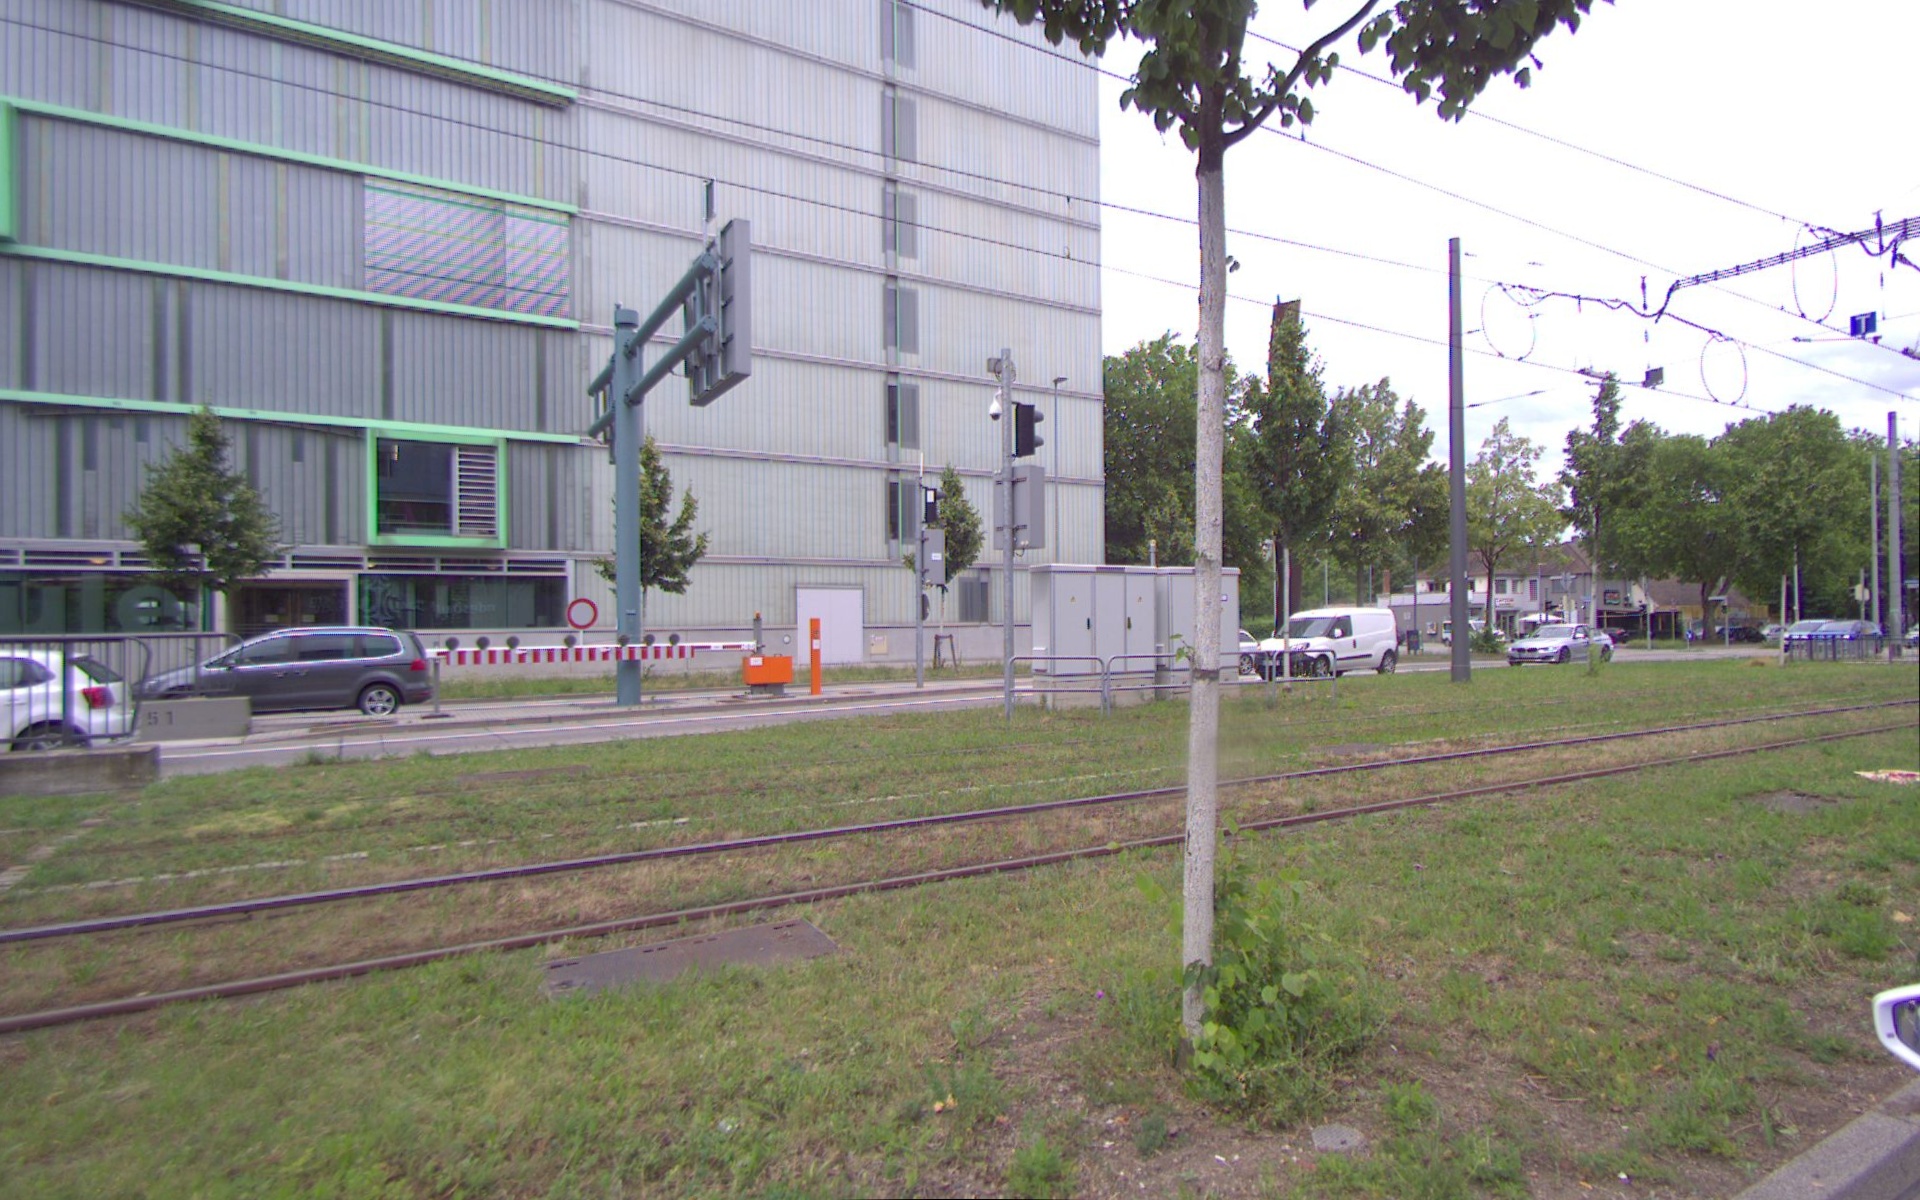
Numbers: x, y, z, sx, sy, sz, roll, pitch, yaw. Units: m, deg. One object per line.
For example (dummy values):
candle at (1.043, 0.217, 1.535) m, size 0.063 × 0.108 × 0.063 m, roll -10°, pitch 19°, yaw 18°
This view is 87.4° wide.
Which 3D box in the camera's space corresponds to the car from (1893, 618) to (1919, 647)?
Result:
car at (56.760, 1.880, 59.045) m, size 4.623 × 1.665 × 1.711 m, roll 0°, pitch -1°, yaw -32°

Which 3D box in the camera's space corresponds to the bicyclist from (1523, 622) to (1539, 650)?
bicyclist at (36.645, 2.295, 64.436) m, size 0.838 × 1.744 × 0.719 m, roll -1°, pitch -1°, yaw 34°

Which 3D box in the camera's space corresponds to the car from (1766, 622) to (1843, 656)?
car at (43.976, 2.015, 52.293) m, size 4.529 × 1.592 × 1.786 m, roll 1°, pitch 1°, yaw -32°

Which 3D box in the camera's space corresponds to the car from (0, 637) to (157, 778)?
car at (-11.732, 1.189, 10.907) m, size 4.523 × 1.499 × 1.752 m, roll 0°, pitch -2°, yaw -33°

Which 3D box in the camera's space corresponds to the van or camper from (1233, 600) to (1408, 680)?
van or camper at (9.592, 1.028, 26.535) m, size 5.077 × 1.925 × 1.876 m, roll 1°, pitch -2°, yaw -37°

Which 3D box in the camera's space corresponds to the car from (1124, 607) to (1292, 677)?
car at (7.843, 1.263, 31.610) m, size 5.232 × 2.040 × 1.984 m, roll 0°, pitch -1°, yaw -30°

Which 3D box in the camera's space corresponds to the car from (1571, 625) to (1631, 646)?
car at (58.864, 3.251, 92.291) m, size 2.078 × 1.840 × 4.268 m, roll 0°, pitch -1°, yaw -25°

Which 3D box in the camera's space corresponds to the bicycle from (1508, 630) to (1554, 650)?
bicycle at (36.621, 2.568, 64.445) m, size 2.475 × 1.218 × 0.738 m, roll -1°, pitch -1°, yaw 35°

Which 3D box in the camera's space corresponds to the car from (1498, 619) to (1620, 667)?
car at (20.802, 1.472, 34.819) m, size 4.872 × 1.464 × 1.718 m, roll 0°, pitch -3°, yaw -35°

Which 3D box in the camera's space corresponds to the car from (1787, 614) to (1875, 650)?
car at (40.888, 1.457, 47.138) m, size 4.638 × 1.609 × 1.952 m, roll 0°, pitch 0°, yaw -33°

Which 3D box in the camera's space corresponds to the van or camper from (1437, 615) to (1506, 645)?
van or camper at (36.274, 2.096, 71.400) m, size 2.416 × 2.040 × 5.283 m, roll 0°, pitch -1°, yaw 3°

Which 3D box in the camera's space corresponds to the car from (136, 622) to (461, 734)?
car at (-12.238, 1.363, 19.012) m, size 4.908 × 1.848 × 1.984 m, roll 0°, pitch -1°, yaw -30°
